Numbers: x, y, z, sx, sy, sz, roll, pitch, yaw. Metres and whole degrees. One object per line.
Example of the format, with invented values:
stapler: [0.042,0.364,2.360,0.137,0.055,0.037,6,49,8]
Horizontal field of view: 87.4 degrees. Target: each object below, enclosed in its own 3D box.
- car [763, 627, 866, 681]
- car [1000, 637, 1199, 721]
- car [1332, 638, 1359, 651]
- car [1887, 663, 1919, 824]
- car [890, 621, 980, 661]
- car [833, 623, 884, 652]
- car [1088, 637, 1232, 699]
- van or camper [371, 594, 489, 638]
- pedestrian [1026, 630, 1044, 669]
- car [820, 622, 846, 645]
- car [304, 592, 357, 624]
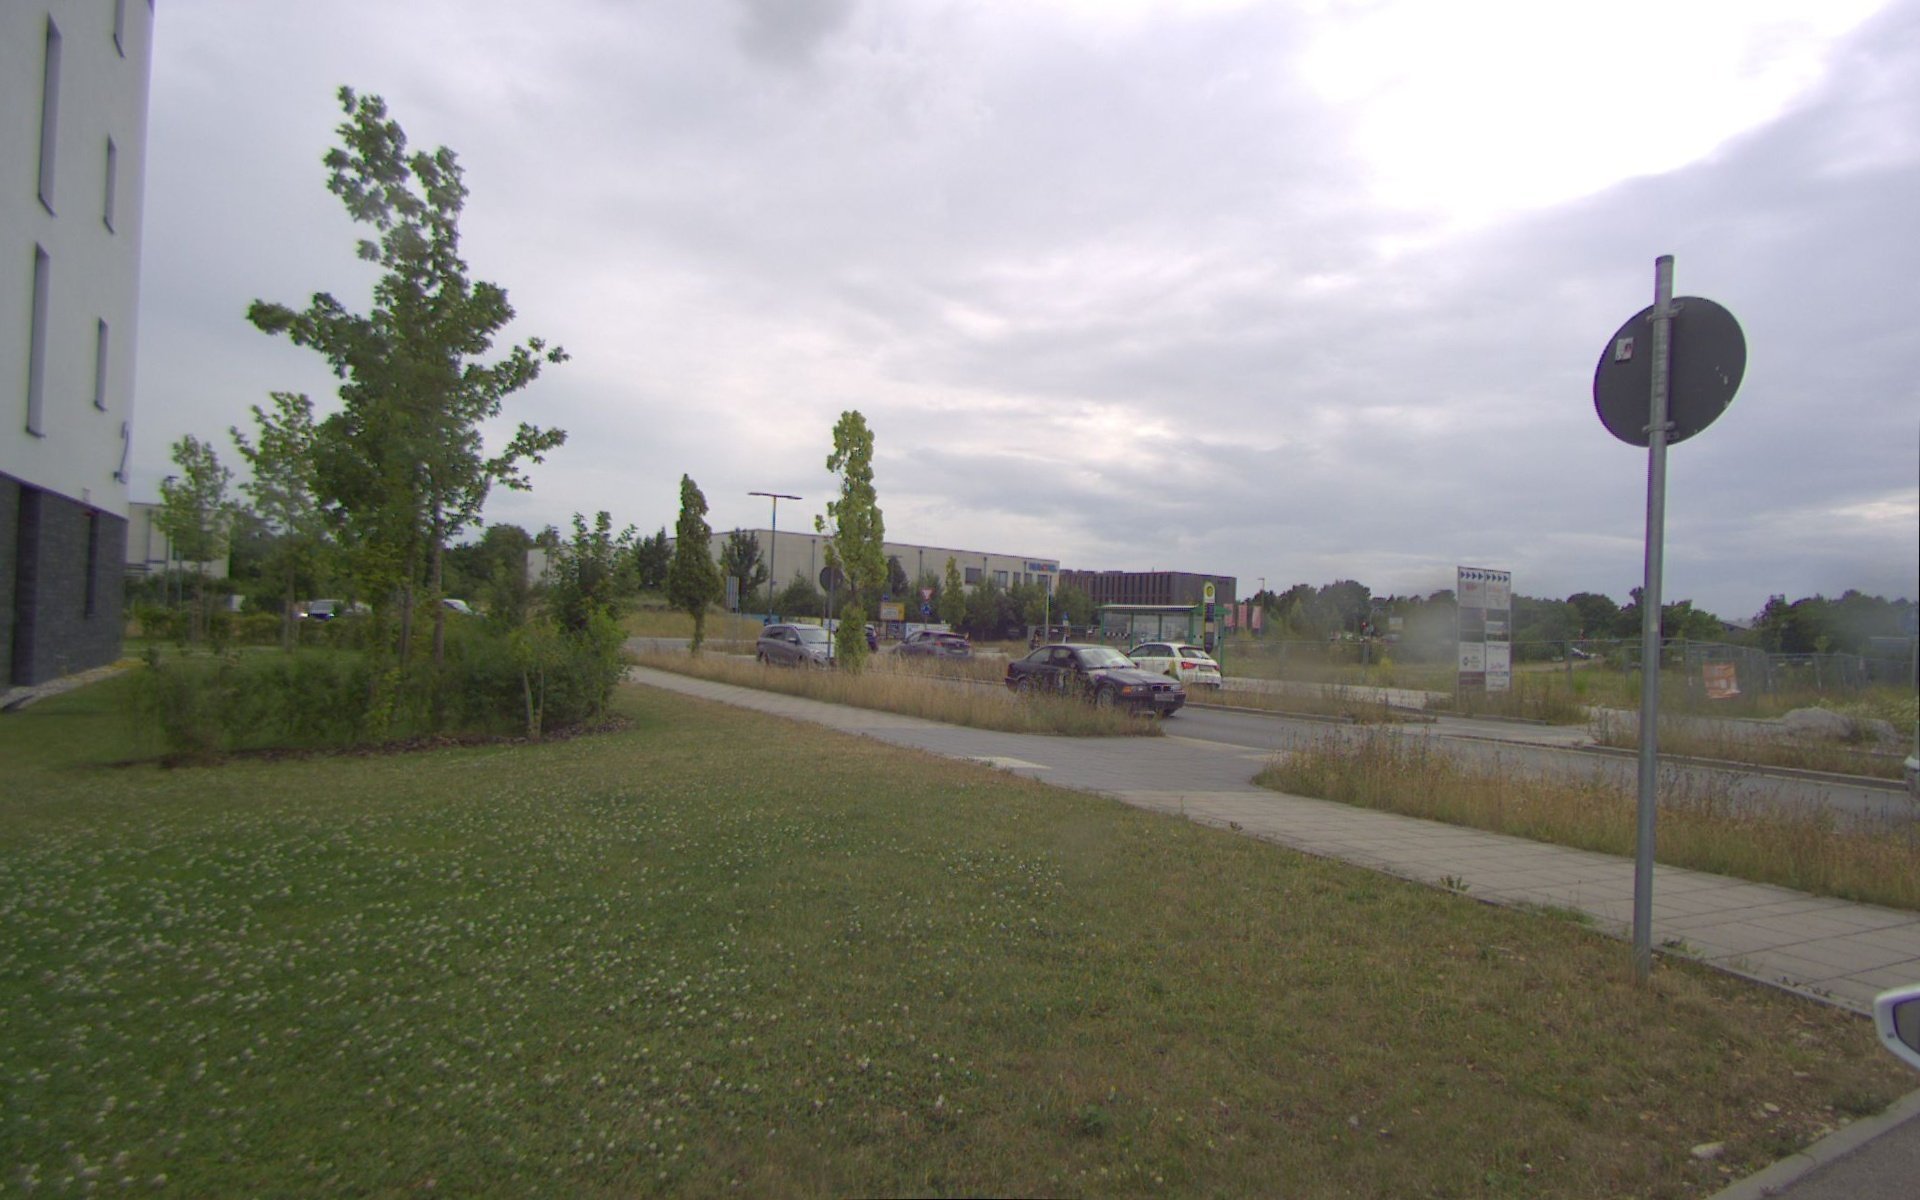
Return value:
car: [-4.861,1.720,33.076,1.800,1.584,4.364,2,-1,-31]
car: [2.711,1.538,20.526,1.739,1.405,4.267,3,-2,-30]
car: [50.259,5.827,130.852,3.611,1.505,1.662,3,-1,-39]
car: [10.591,1.382,8.499,1.784,1.480,3.777,4,-2,-36]
car: [-1.046,1.610,39.888,1.700,1.360,4.027,3,-1,-33]
car: [-5.546,2.013,54.455,1.694,1.360,3.943,3,-1,-22]
car: [5.765,1.943,29.373,1.740,1.500,4.018,4,-1,-34]
van or camper: [-24.690,0.771,46.987,4.499,1.771,1.993,4,-1,-17]
pedestrian: [3.444,2.255,46.340,0.728,1.744,0.651,3,-1,3]
car: [-8.631,2.252,68.101,1.687,1.360,3.959,3,-1,-8]
car: [-35.253,0.445,56.219,1.880,1.661,3.952,4,-2,-41]
